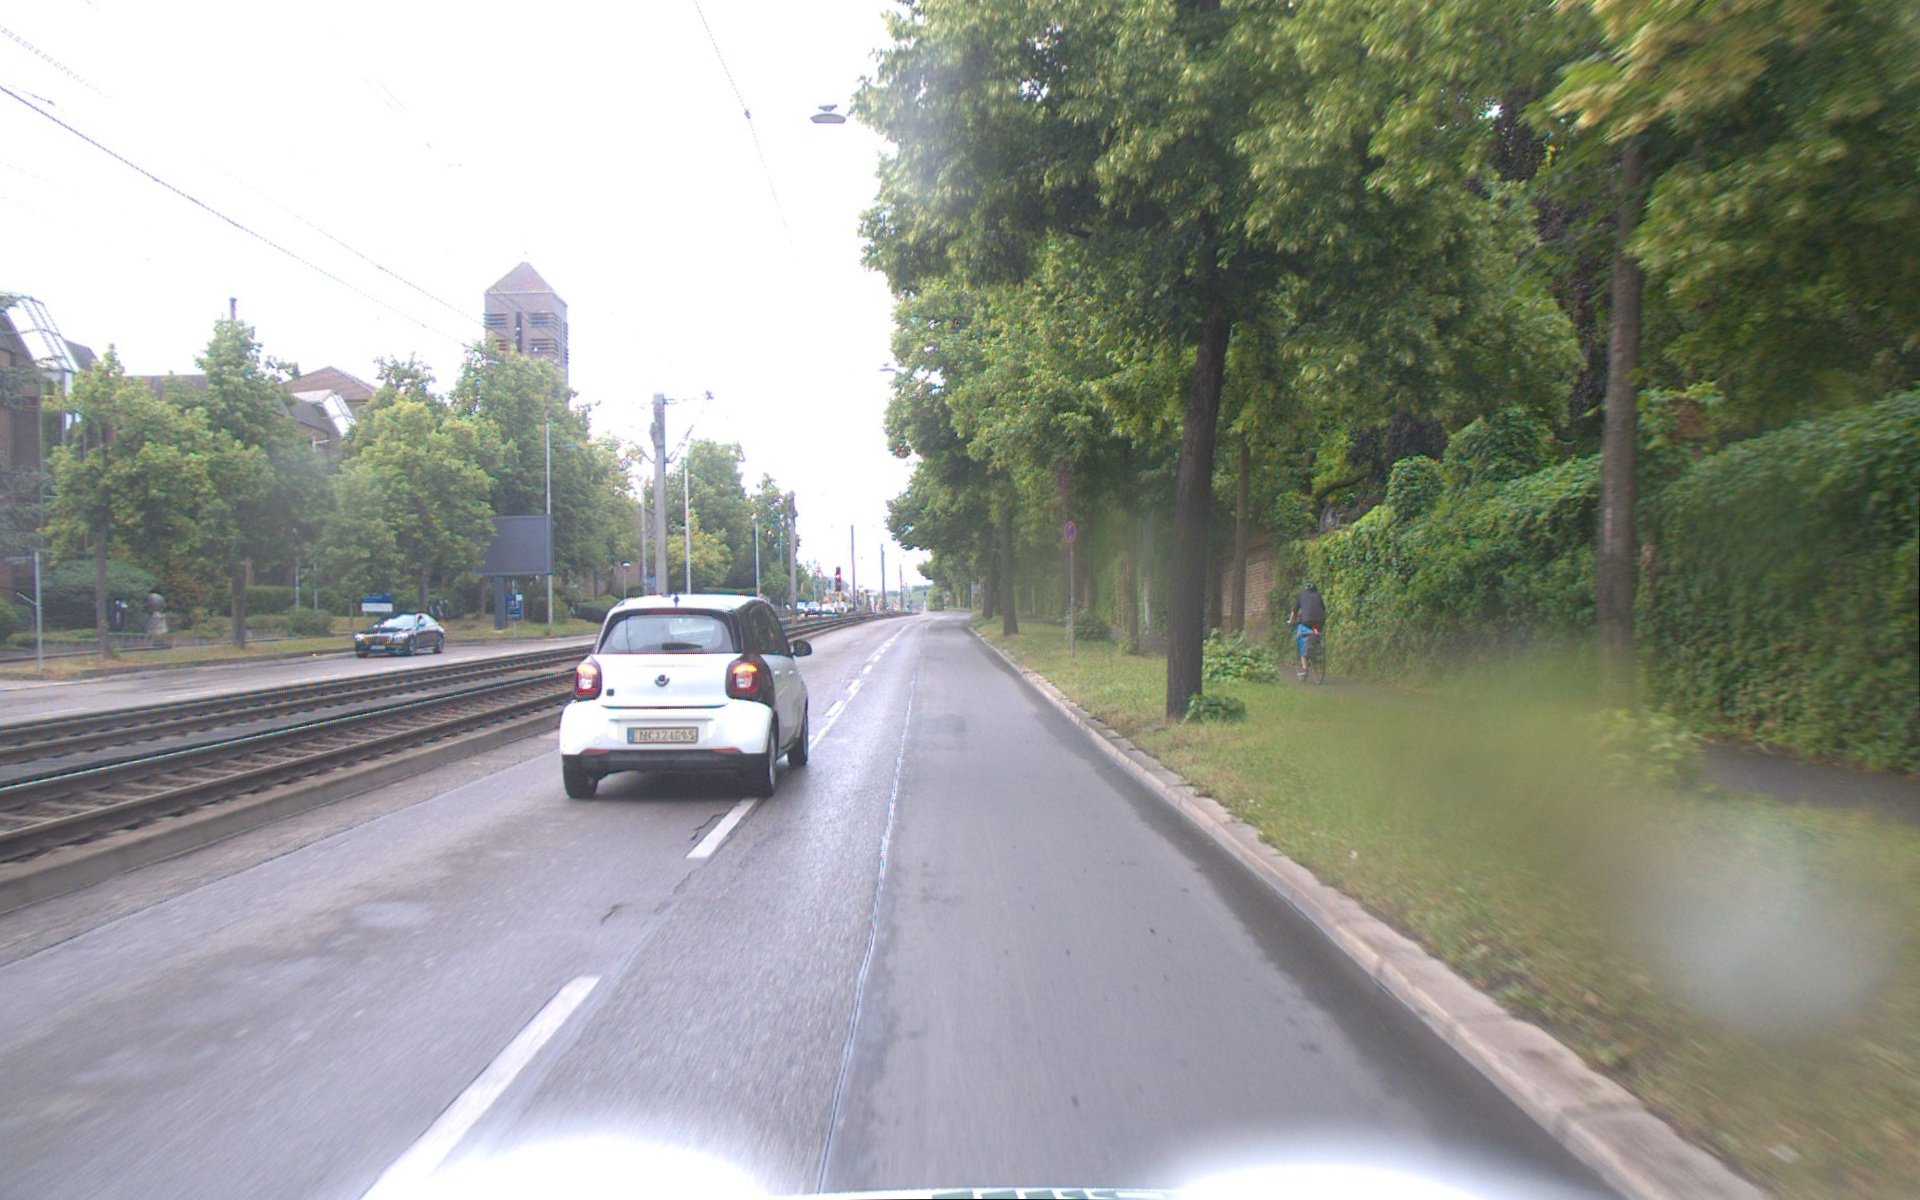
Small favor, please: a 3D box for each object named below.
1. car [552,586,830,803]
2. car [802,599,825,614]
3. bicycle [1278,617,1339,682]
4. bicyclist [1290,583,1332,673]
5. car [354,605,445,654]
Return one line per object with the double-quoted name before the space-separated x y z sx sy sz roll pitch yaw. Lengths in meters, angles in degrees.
"car" -2.122 0.698 14.001 1.641 1.557 3.722 -1 0 1
"car" -17.248 0.756 194.905 1.971 1.685 4.618 -2 0 3
"bicycle" 5.659 0.783 26.944 0.531 0.964 2.550 -2 0 2
"bicyclist" 5.638 0.437 26.582 0.524 1.414 0.666 -2 0 2
"car" -19.691 1.015 58.339 1.758 1.556 4.620 -2 0 -2
